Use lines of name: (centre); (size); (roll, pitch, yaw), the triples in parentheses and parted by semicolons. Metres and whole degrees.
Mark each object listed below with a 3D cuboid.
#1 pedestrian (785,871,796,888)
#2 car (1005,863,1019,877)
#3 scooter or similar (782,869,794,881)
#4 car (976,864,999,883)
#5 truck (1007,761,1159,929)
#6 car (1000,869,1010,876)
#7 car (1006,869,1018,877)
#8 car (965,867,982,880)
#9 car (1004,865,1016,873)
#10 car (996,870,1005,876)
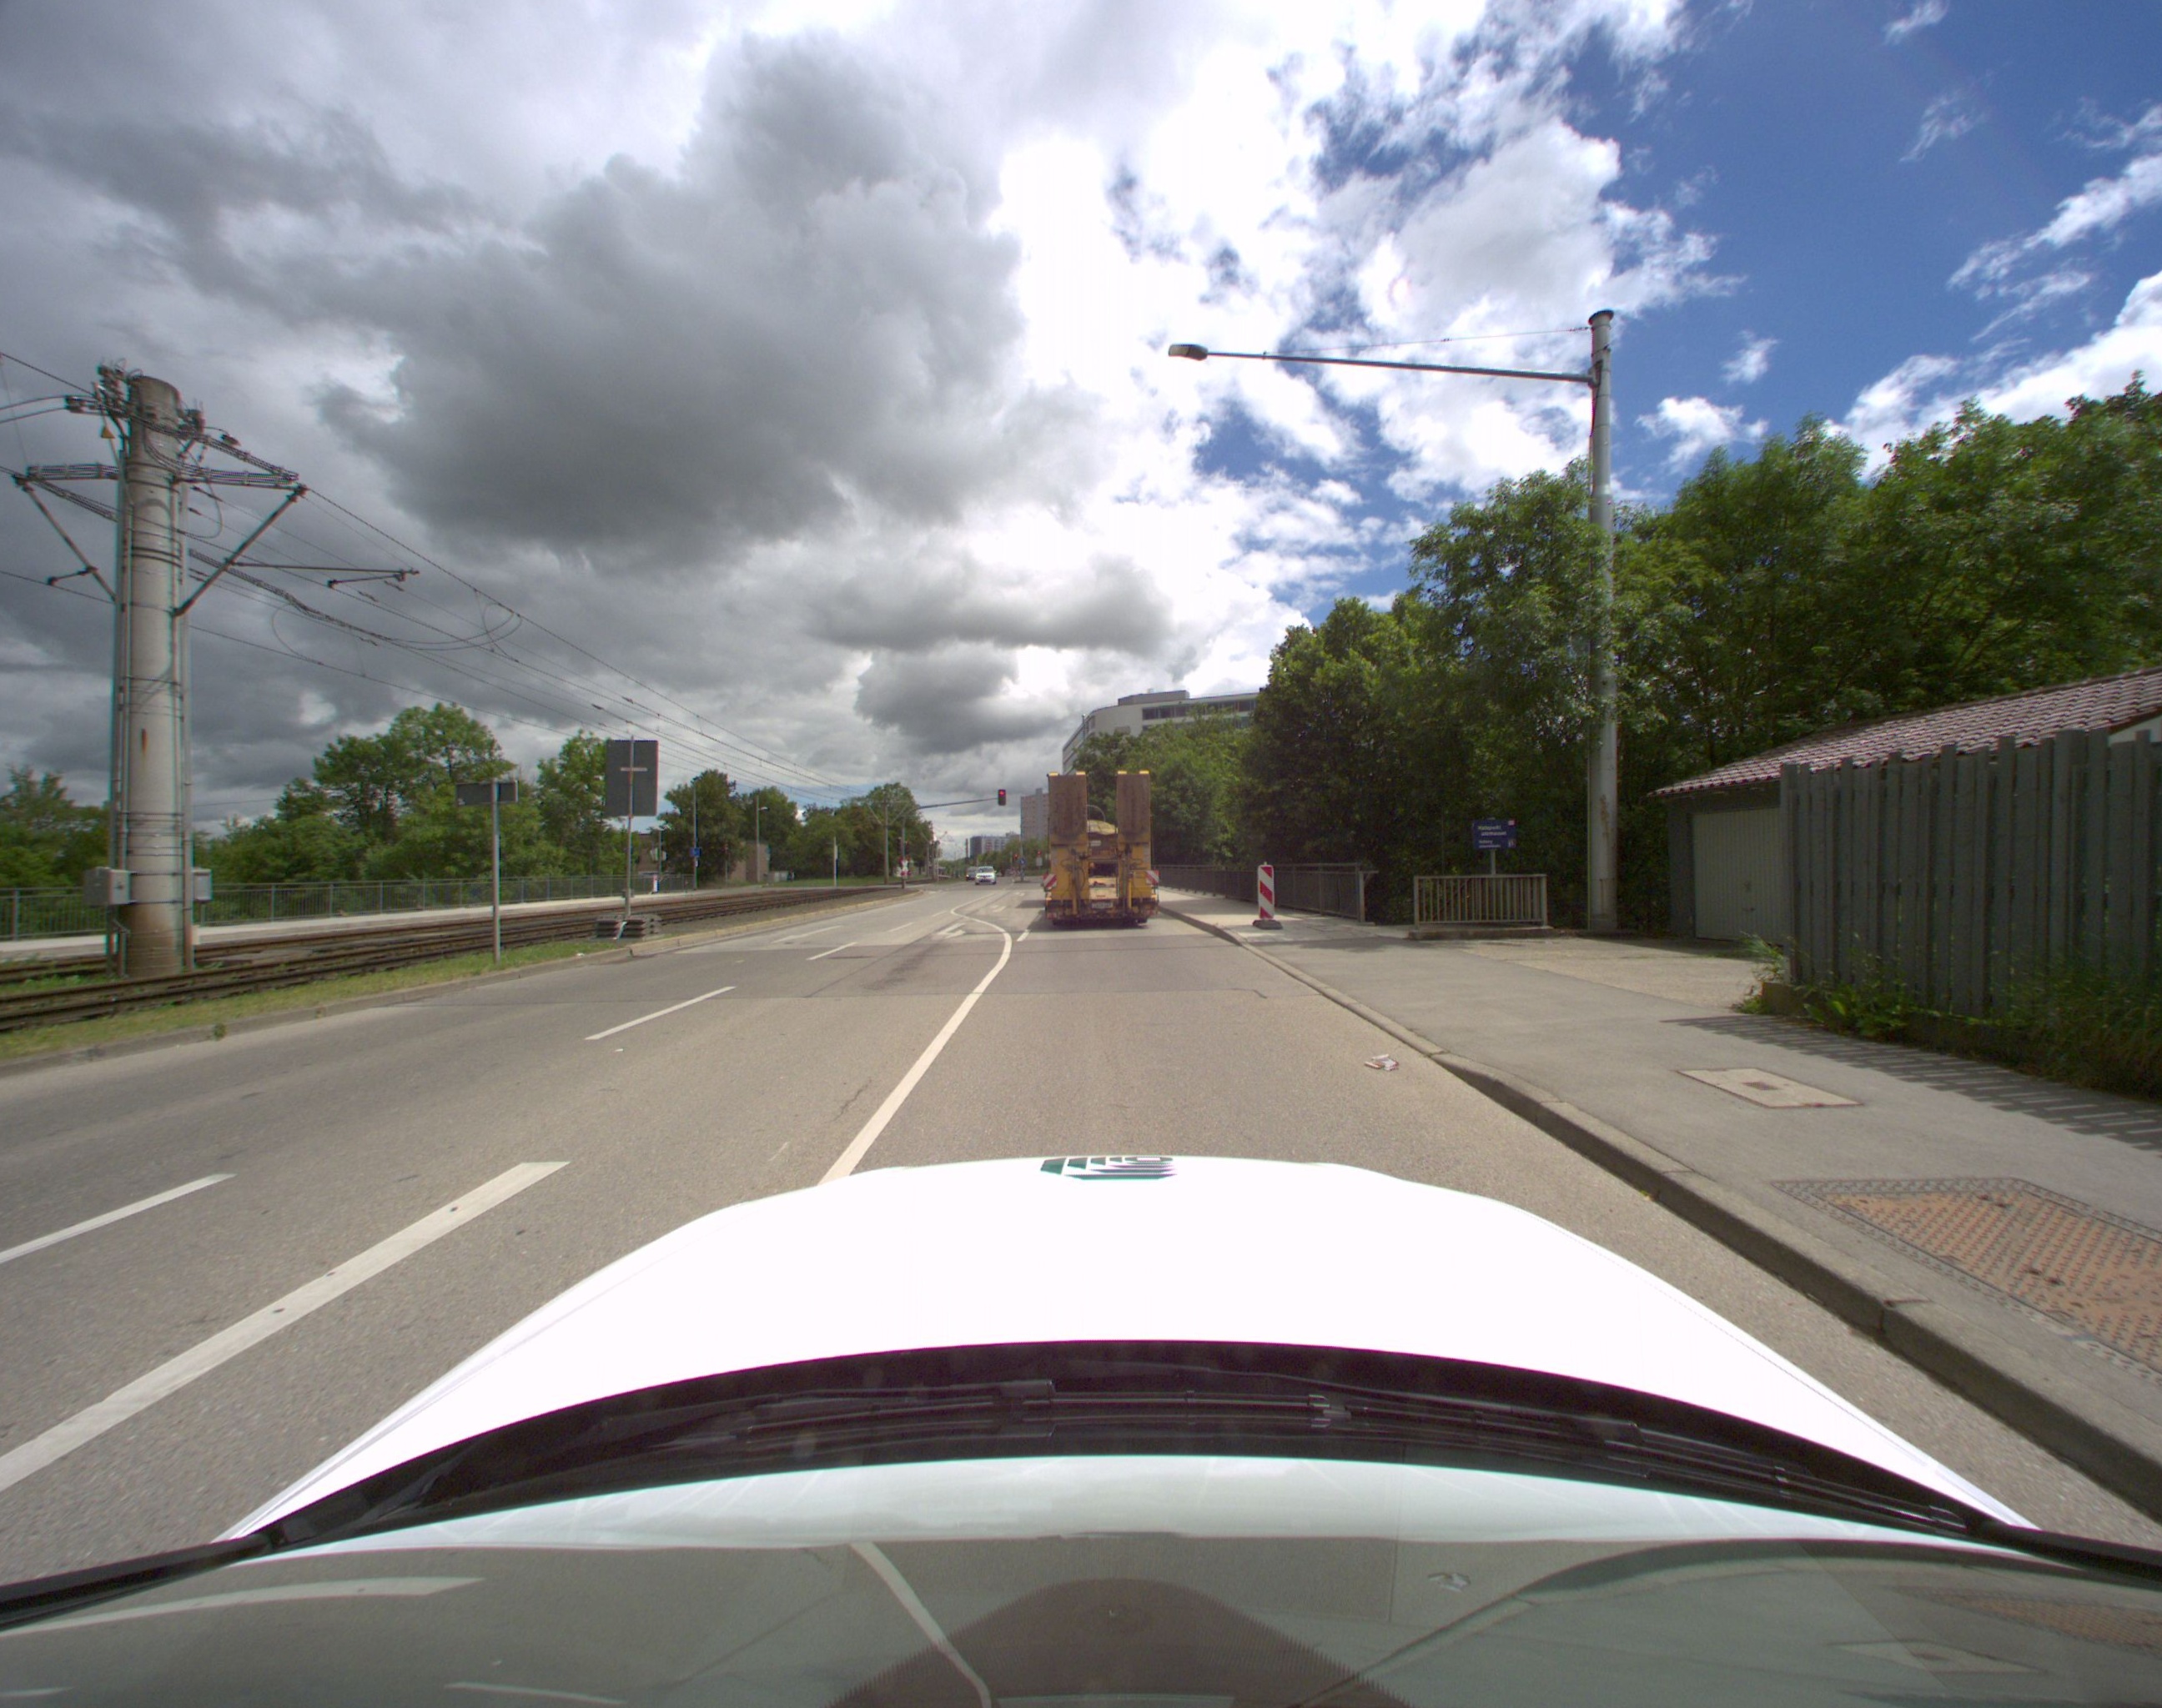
pedestrian: (-30.716, 2.702, 86.136); (0.799, 1.811, 0.808); (1, -1, 0)
car: (-9.976, 2.350, 118.148); (1.990, 1.926, 3.994); (1, -1, -4)
scooter or similar: (-30.700, 2.212, 85.266); (0.888, 1.184, 0.971); (1, -1, -2)
car: (-7.974, 1.667, 69.640); (1.589, 1.527, 3.651); (-1, -1, -2)
truck: (0.202, -0.095, 24.063); (3.304, 3.651, 12.564); (0, -1, 1)
car: (-16.280, 3.974, 175.472); (1.989, 1.618, 3.994); (1, -1, -4)
car: (-12.792, 3.485, 151.064); (1.990, 1.420, 3.994); (1, -1, -4)
car: (-12.917, 2.358, 98.236); (1.781, 1.570, 4.337); (-1, -1, -5)
car: (-12.356, 2.623, 141.103); (1.990, 1.420, 3.994); (1, -1, -4)
car: (-17.729, 4.095, 179.791); (1.781, 1.272, 4.337); (-1, -1, -5)
